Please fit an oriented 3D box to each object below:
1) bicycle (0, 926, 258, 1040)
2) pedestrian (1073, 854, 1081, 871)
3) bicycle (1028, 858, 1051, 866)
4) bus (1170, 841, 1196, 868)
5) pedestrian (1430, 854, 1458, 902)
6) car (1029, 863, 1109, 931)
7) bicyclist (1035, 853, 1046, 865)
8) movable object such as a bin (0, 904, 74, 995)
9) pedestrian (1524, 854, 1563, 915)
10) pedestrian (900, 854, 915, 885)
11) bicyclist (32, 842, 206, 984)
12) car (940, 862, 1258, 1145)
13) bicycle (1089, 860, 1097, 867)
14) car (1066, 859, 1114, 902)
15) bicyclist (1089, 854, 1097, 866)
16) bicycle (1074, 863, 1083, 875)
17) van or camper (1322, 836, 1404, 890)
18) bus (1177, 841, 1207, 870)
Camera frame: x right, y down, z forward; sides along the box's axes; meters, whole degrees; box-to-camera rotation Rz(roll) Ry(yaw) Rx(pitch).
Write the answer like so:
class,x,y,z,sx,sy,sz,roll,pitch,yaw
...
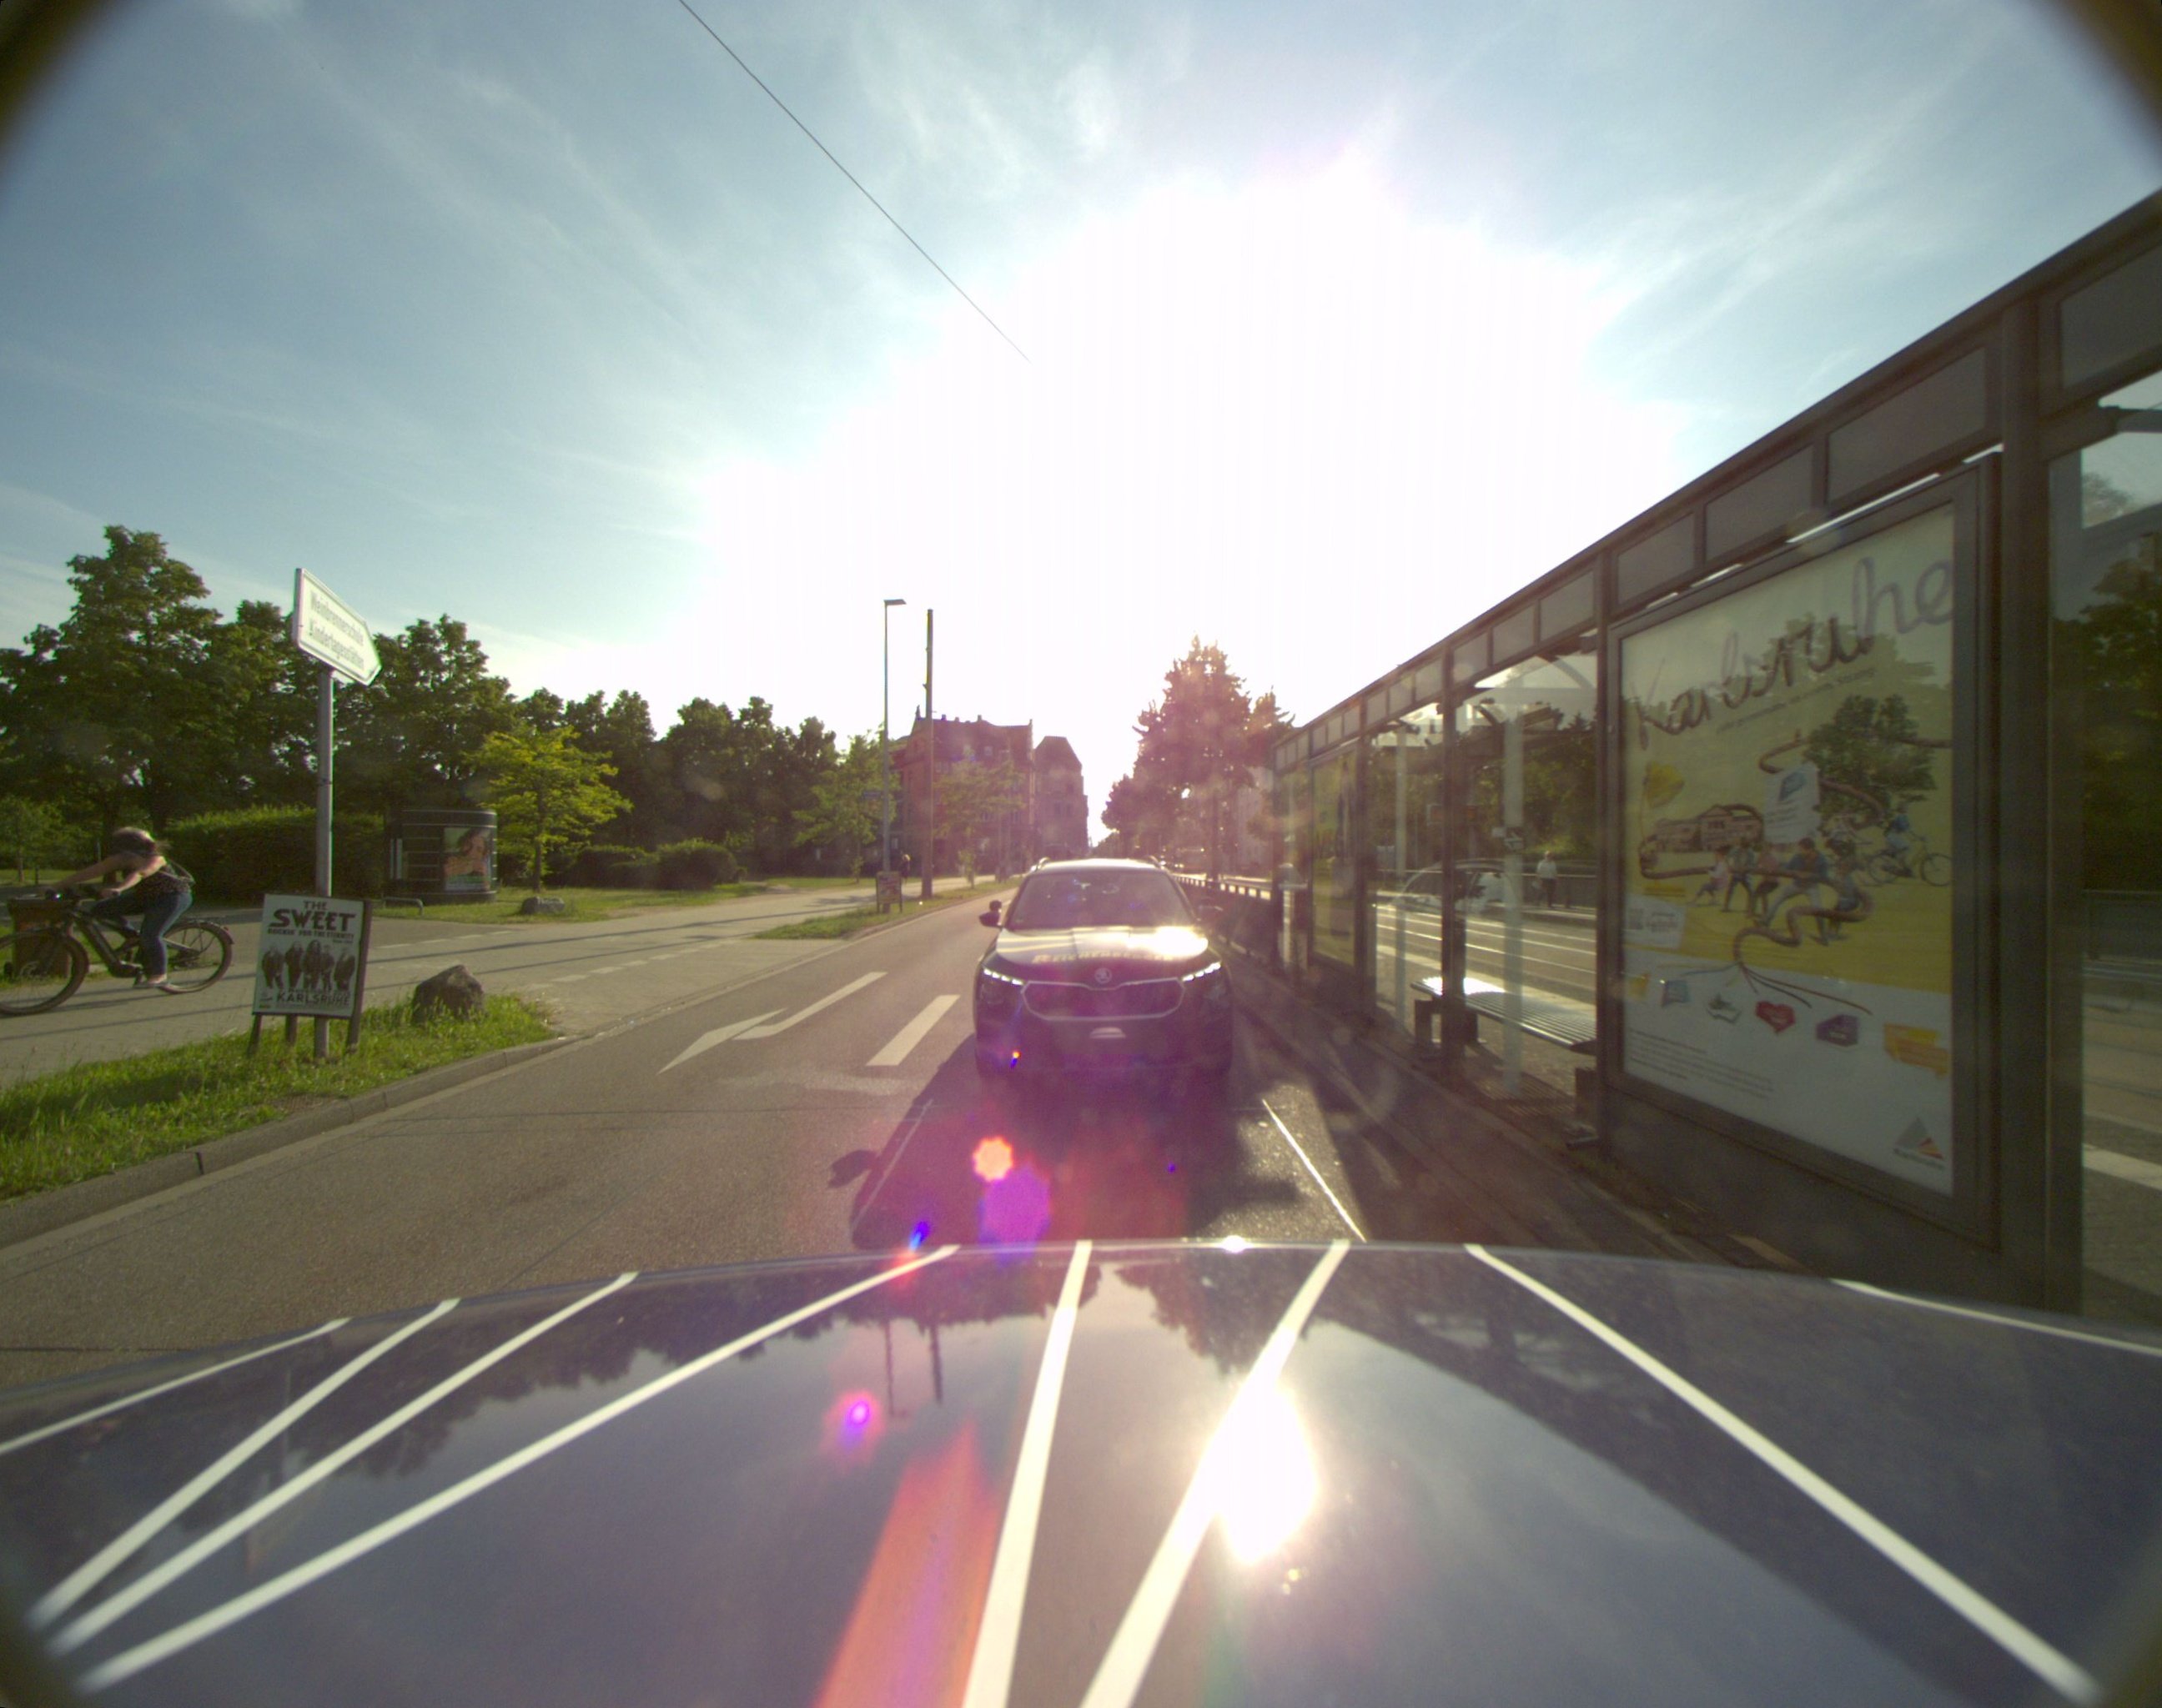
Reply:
class,x,y,z,sx,sy,sz,roll,pitch,yaw
bicycle,-9.123,1.150,7.097,0.496,0.753,2.168,1,0,1
pedestrian,-0.395,0.793,70.004,0.637,1.512,0.844,-2,1,-3
bicycle,-5.229,1.046,95.931,2.962,0.974,0.879,0,0,-2
bus,14.171,0.030,106.084,2.437,3.415,9.261,-2,1,1
pedestrian,13.122,0.849,27.507,0.621,1.674,0.618,4,0,1
car,-0.236,1.004,19.217,1.756,1.451,4.235,-1,0,1
bicyclist,-5.125,0.617,95.934,1.402,1.538,0.888,0,0,-2
movable object such as a bin,-11.474,1.028,8.334,0.603,0.912,0.457,1,0,42
pedestrian,13.083,0.853,21.513,0.621,1.674,0.618,4,0,1
pedestrian,-9.669,0.861,42.292,0.621,1.674,0.618,-1,0,1
bicyclist,-9.076,0.527,7.208,0.535,1.255,0.869,0,0,1
car,0.130,0.867,6.402,1.756,1.534,4.235,-1,0,1
bicycle,1.470,1.118,92.238,0.566,0.789,2.043,0,0,12
car,0.379,1.016,30.415,1.756,1.534,4.235,-1,0,1
bicyclist,1.471,0.690,92.223,0.688,1.445,1.112,0,0,12
bicycle,-0.230,1.409,69.883,0.652,1.040,1.980,-2,1,-3
van or camper,16.798,0.466,45.672,2.527,2.951,6.411,-2,1,1
bus,14.037,0.128,96.801,2.437,3.415,9.261,-2,1,1
